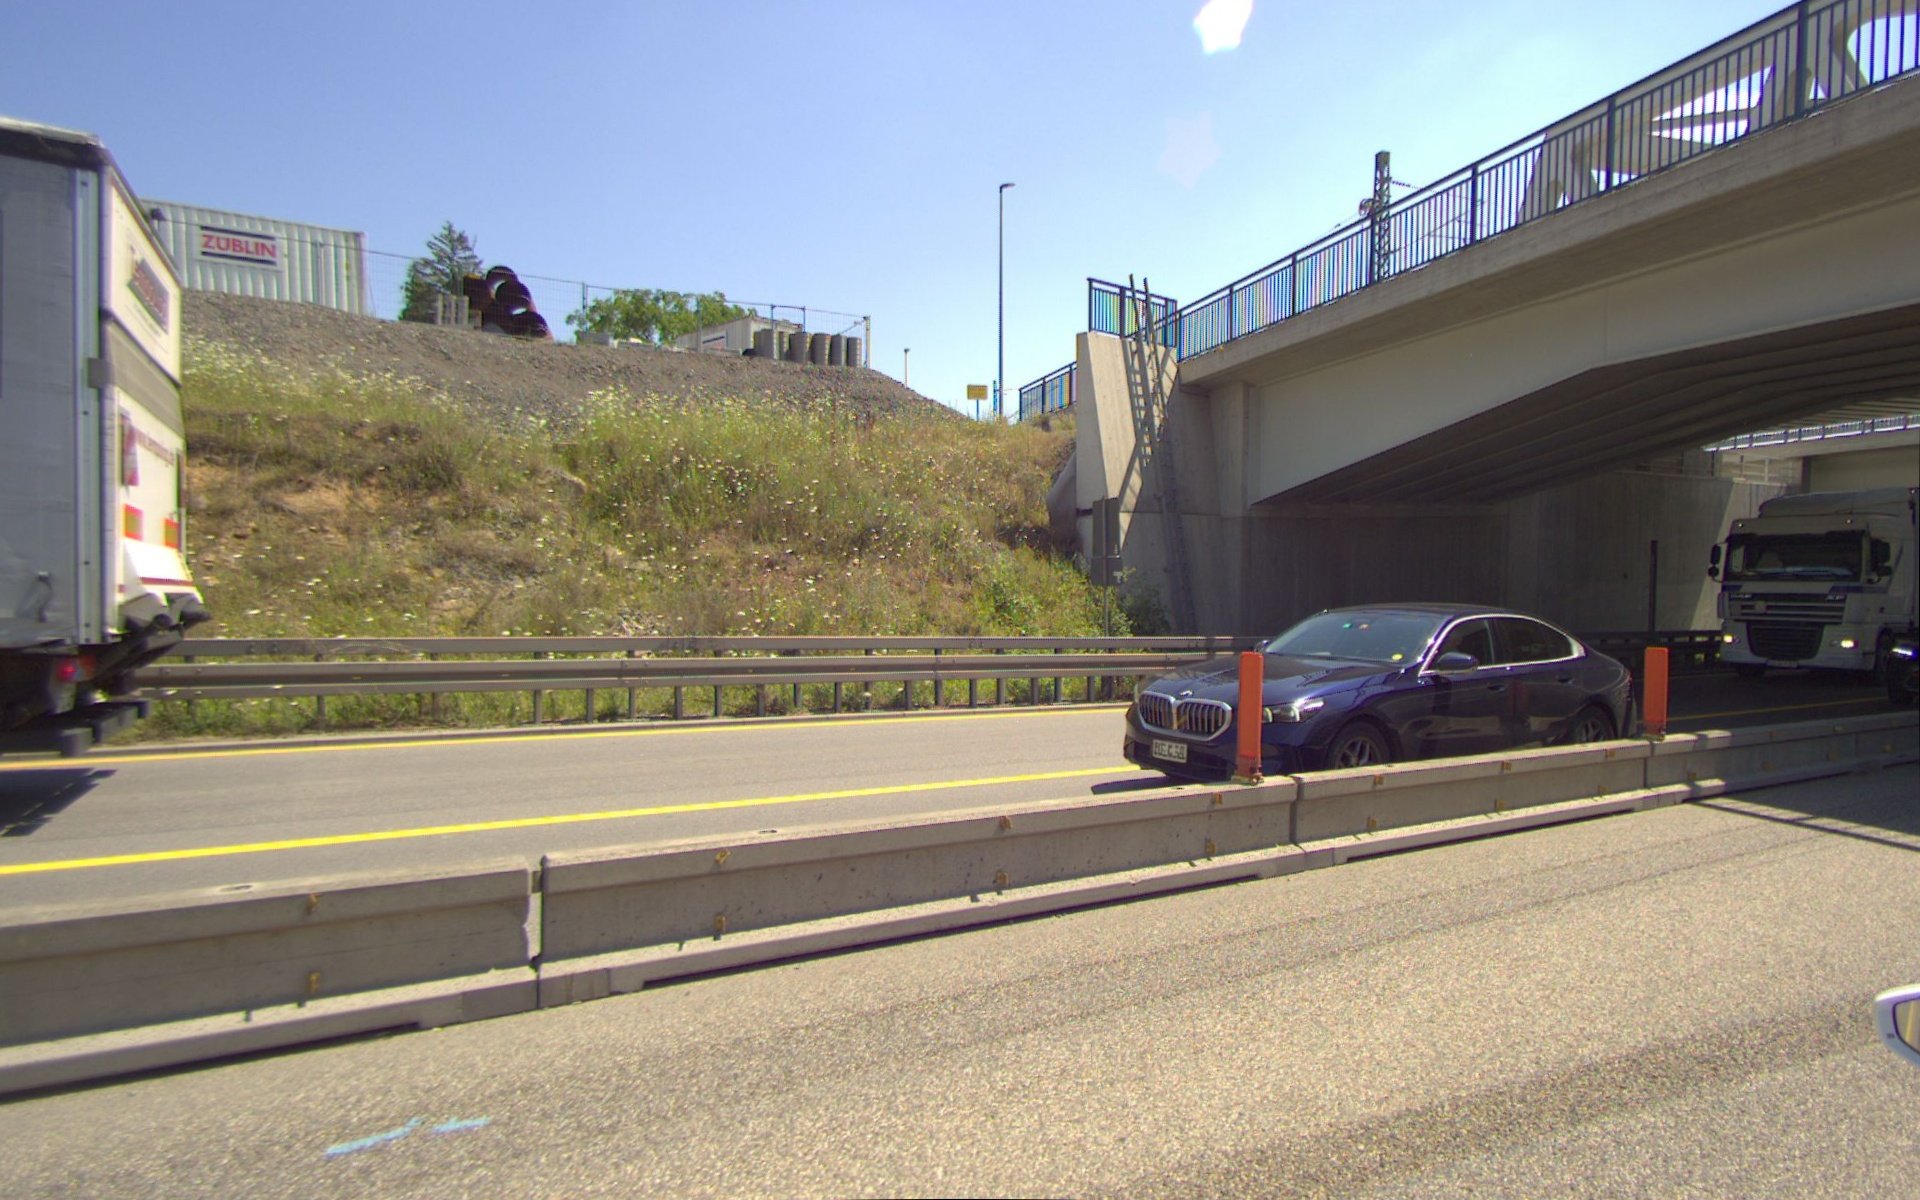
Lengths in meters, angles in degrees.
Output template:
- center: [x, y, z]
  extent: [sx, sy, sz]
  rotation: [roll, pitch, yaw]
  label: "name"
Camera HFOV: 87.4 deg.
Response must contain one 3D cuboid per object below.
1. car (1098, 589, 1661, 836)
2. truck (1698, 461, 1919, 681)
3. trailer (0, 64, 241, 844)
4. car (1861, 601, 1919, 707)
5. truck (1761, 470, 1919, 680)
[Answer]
- center: [3.605, 0.783, 8.360]
  extent: [4.718, 1.548, 1.846]
  rotation: [2, 0, -31]
  label: "car"
- center: [18.818, -0.495, 21.728]
  extent: [5.125, 4.226, 2.647]
  rotation: [2, 0, -30]
  label: "truck"
- center: [-8.743, -0.917, 4.924]
  extent: [8.151, 4.229, 2.798]
  rotation: [2, 0, -32]
  label: "trailer"
- center: [17.039, 0.872, 16.708]
  extent: [4.470, 1.631, 1.713]
  rotation: [0, 2, -30]
  label: "car"
- center: [25.007, -0.319, 25.401]
  extent: [13.333, 4.371, 2.755]
  rotation: [2, 0, -31]
  label: "truck"
